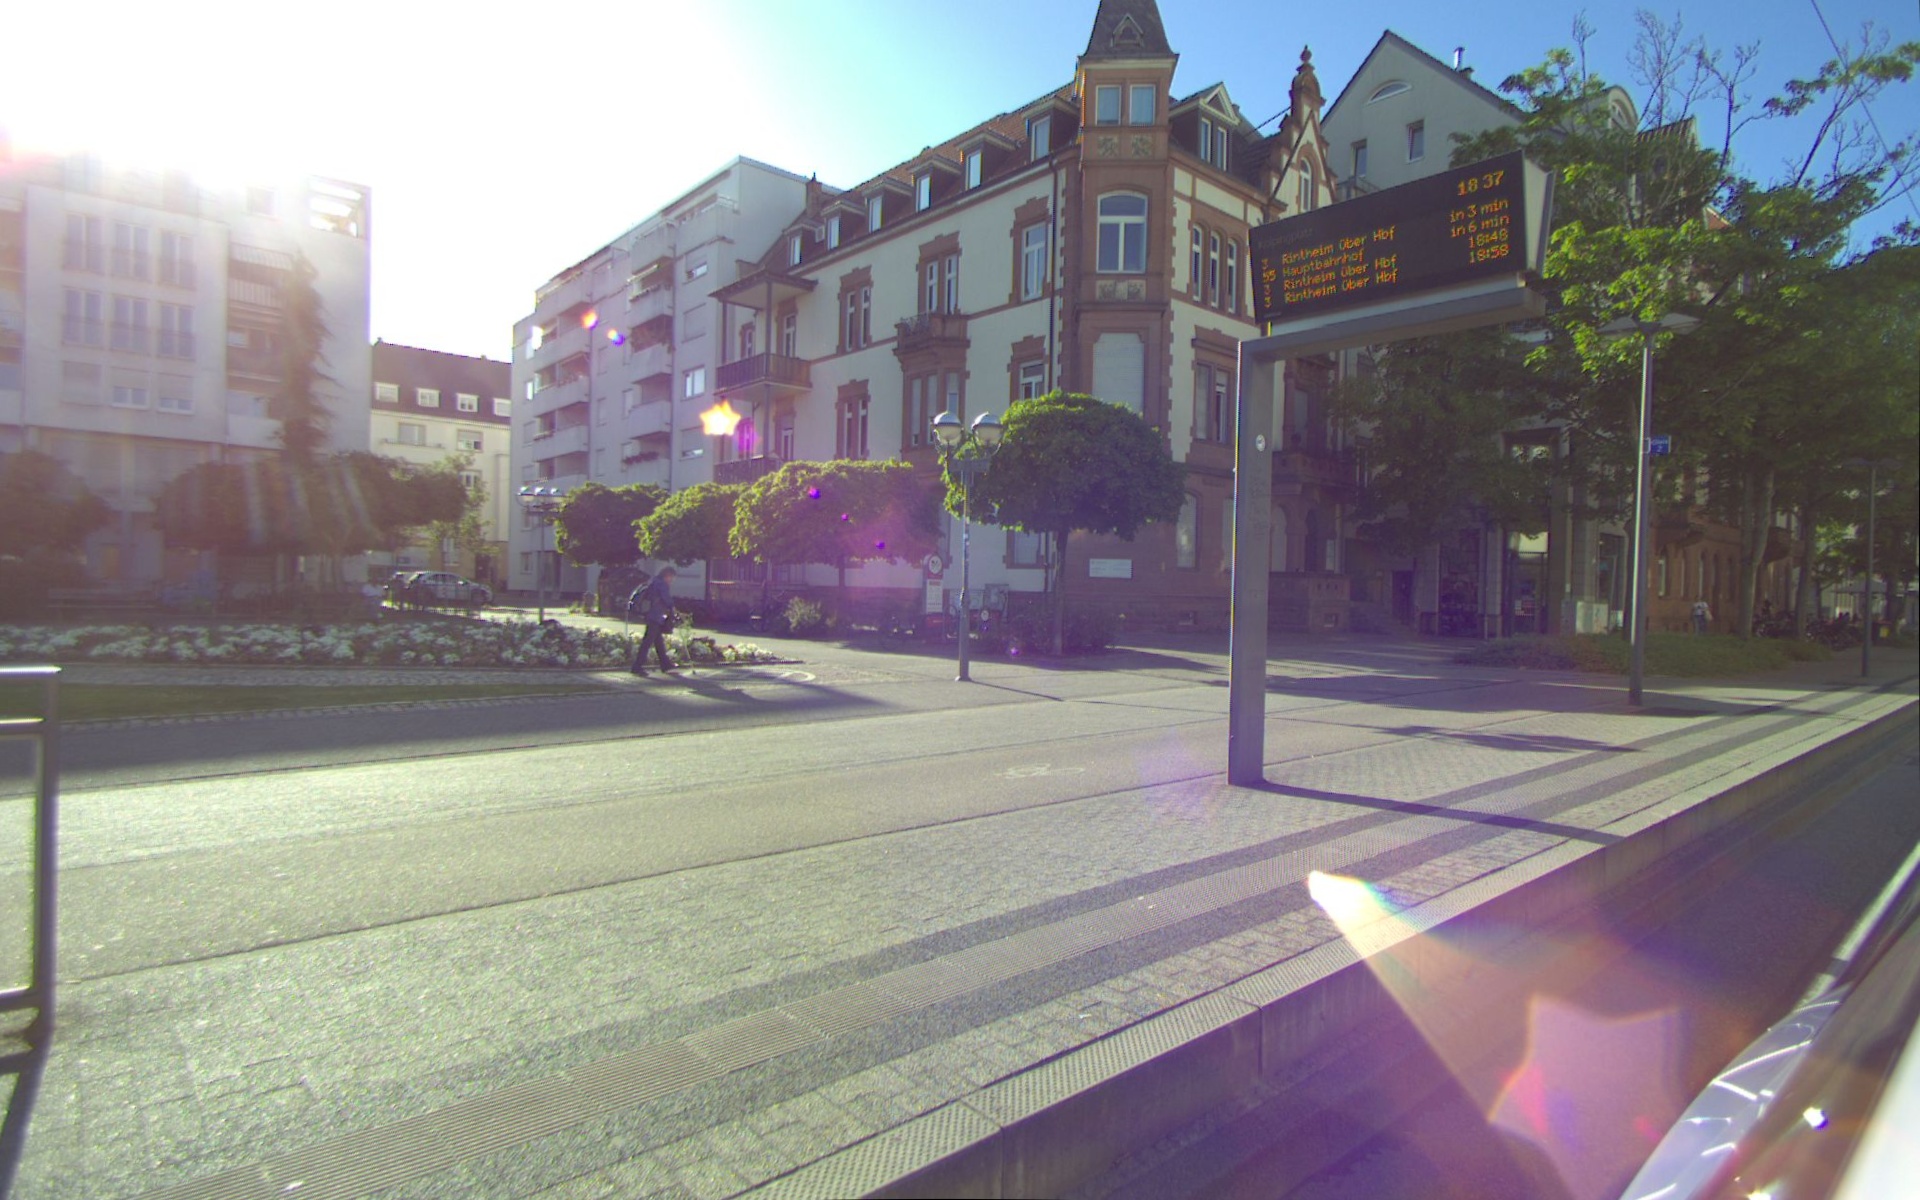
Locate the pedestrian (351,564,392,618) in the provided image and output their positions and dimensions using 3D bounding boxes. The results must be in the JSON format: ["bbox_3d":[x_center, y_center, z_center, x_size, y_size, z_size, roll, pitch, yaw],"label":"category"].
[{"bbox_3d":[-16.282,-0.262,28.023,0.917,1.428,1.529,1,1,-30],"label":"pedestrian"}]

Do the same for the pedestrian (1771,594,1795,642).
[{"bbox_3d":[35.620,0.785,43.803,0.549,2.039,0.654,1,1,-38],"label":"pedestrian"}]

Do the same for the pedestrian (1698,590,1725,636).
[{"bbox_3d":[29.416,0.513,39.604,0.740,1.757,0.864,2,1,43],"label":"pedestrian"}]

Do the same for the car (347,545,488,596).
[{"bbox_3d":[-29.895,-1.598,55.951,2.806,2.587,6.297,2,1,43],"label":"car"}]

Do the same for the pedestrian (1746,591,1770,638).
[{"bbox_3d":[35.083,0.630,44.485,0.549,2.039,0.654,1,1,-38],"label":"pedestrian"}]

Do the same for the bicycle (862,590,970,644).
[{"bbox_3d":[-0.946,0.347,22.759,0.787,1.081,2.767,2,3,40],"label":"bicycle"}]

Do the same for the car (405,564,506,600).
[{"bbox_3d":[-23.369,-0.834,46.892,3.923,1.536,2.001,1,1,-34],"label":"car"}]

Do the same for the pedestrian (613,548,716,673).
[{"bbox_3d":[-4.187,0.121,14.351,1.064,1.689,0.944,2,1,37],"label":"pedestrian"}]

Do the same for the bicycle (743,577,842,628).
[{"bbox_3d":[-4.839,0.075,29.472,2.863,1.389,0.746,1,1,-41],"label":"bicycle"}]

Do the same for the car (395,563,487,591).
[{"bbox_3d":[-26.177,-1.151,51.091,3.923,1.304,2.001,1,1,-34],"label":"car"}]
